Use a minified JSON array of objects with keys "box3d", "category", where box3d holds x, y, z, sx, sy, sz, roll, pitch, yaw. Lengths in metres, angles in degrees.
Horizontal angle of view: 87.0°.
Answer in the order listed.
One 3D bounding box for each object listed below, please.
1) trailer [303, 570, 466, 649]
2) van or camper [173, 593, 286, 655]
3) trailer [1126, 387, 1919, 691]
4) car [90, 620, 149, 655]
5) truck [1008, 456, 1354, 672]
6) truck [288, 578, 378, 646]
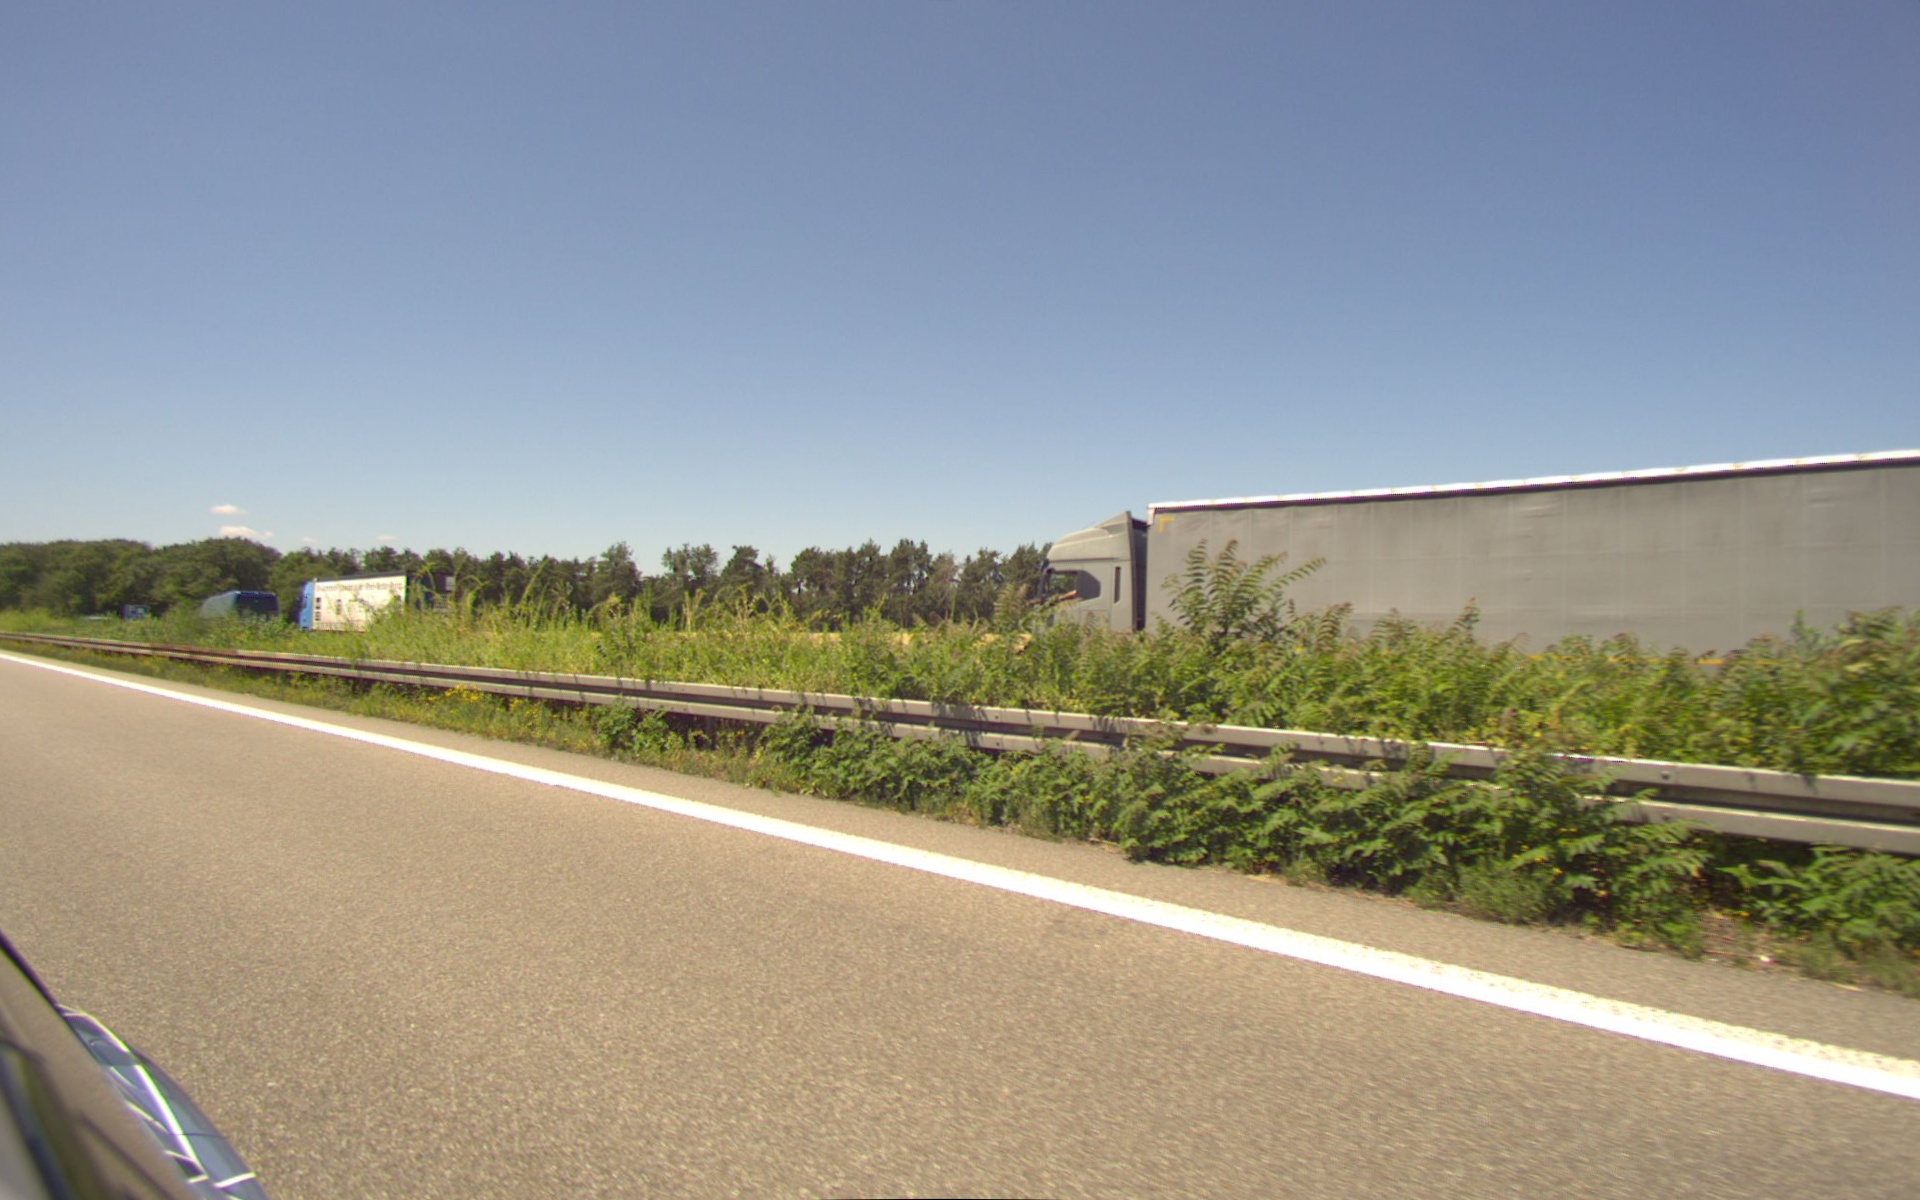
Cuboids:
[{"box3d":[-30.716,0.548,53.484,14.377,3.726,3.077,-1,0,42],"category":"trailer"},{"box3d":[-40.811,1.332,56.336,11.505,3.125,2.583,-1,-2,41],"category":"van or camper"},{"box3d":[9.792,-0.704,16.191,14.369,3.726,3.316,-1,0,40],"category":"trailer"},{"box3d":[-50.840,2.212,61.178,4.710,2.029,1.973,-1,-2,41],"category":"car"},{"box3d":[4.405,-0.595,20.689,6.059,3.726,3.316,-1,0,40],"category":"truck"},{"box3d":[-36.236,0.660,58.436,5.196,3.726,3.077,-1,0,42],"category":"truck"}]
